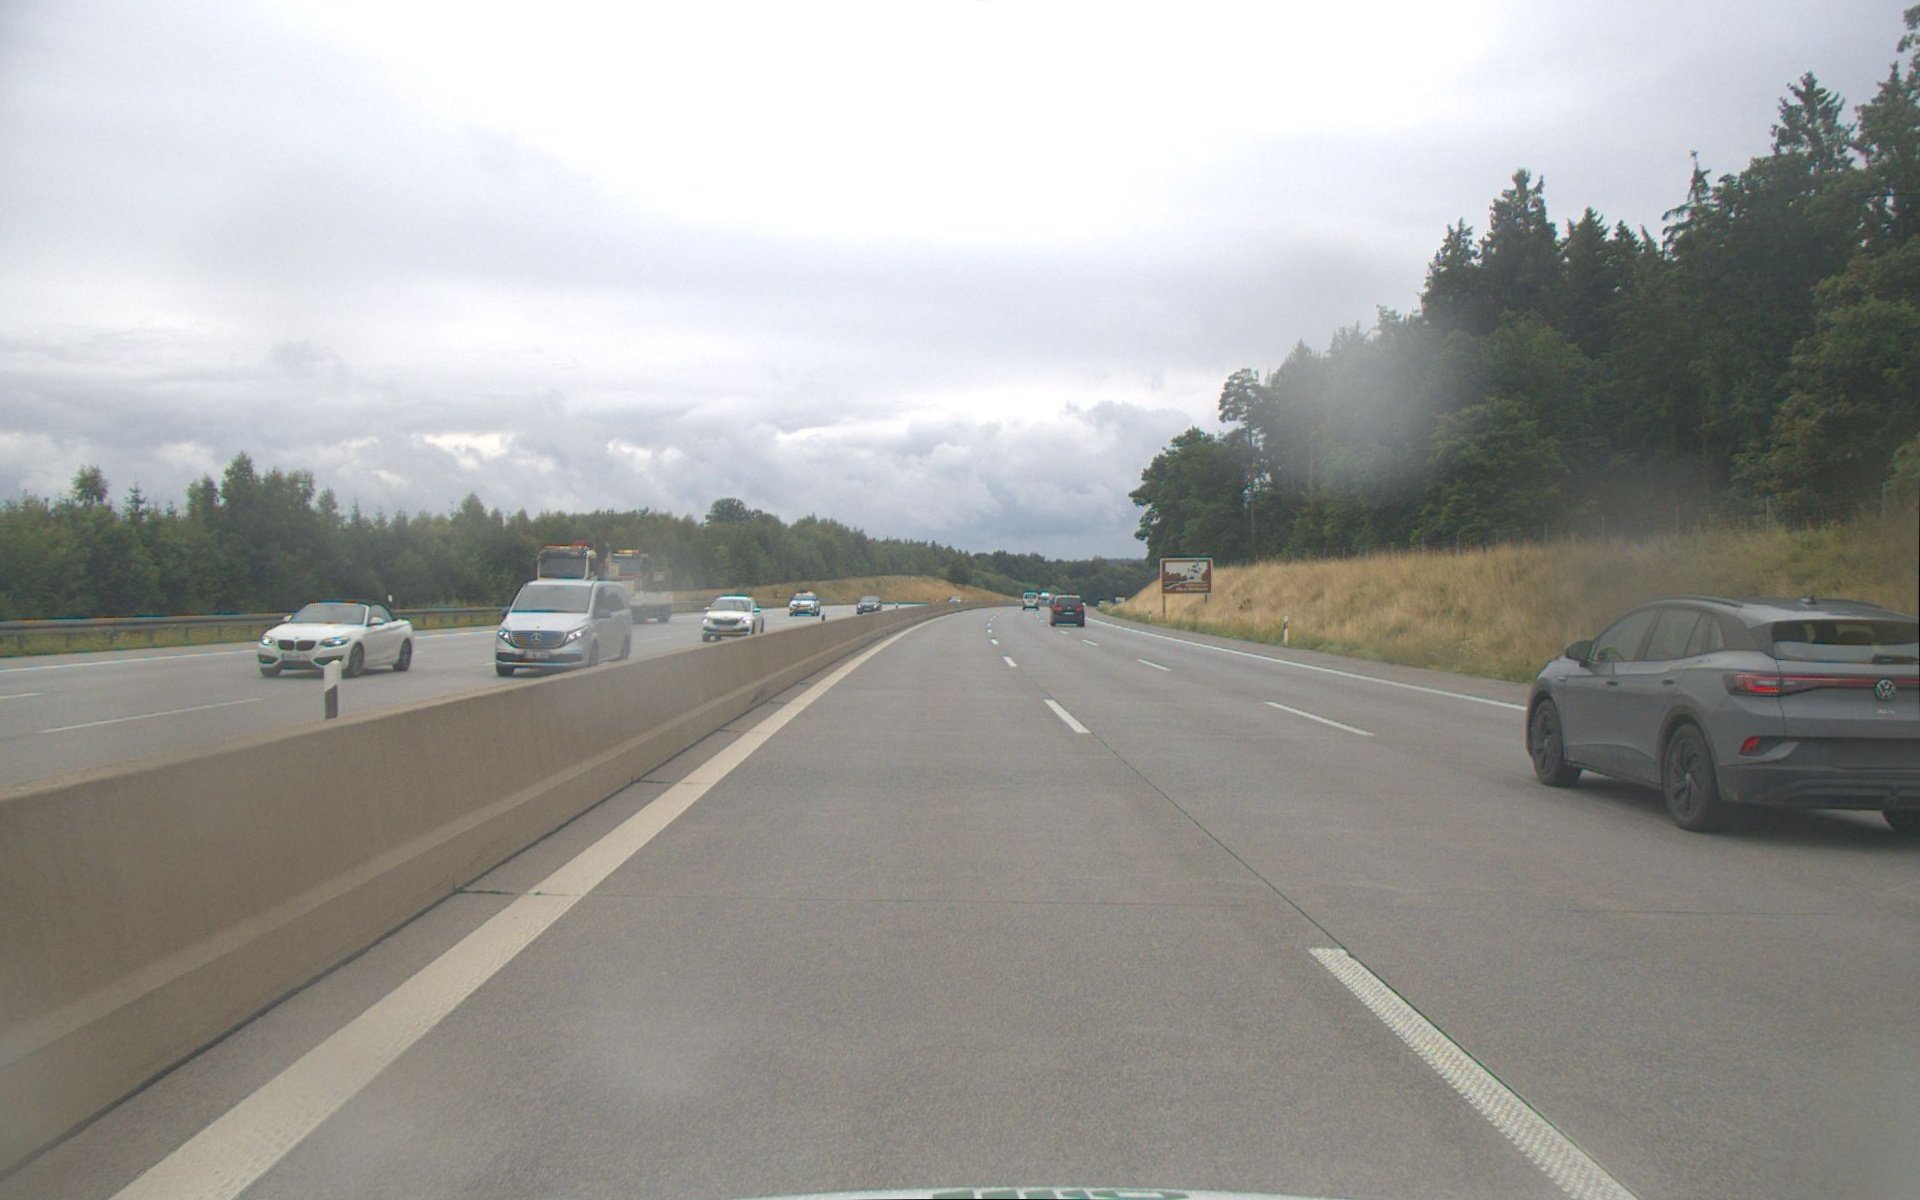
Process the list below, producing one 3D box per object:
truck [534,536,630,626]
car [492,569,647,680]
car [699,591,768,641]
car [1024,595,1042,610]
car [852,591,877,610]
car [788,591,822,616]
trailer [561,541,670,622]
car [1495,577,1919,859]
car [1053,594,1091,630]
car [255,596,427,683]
[{"bbox_3d":[-16.481,-0.813,72.631,2.533,3.716,7.660,0,0,-1],"label":"truck"},{"bbox_3d":[-7.985,0.426,34.394,1.953,2.048,5.524,2,1,-1],"label":"car"},{"bbox_3d":[-7.770,0.520,57.118,1.679,1.445,4.214,3,2,0],"label":"car"},{"bbox_3d":[8.336,0.228,189.888,1.804,1.526,4.000,-2,2,-1],"label":"car"},{"bbox_3d":[-7.478,0.018,129.891,1.727,1.289,4.492,-1,-2,-1],"label":"car"},{"bbox_3d":[-10.830,0.225,115.814,1.726,1.614,4.758,1,1,2],"label":"car"},{"bbox_3d":[-16.519,-0.815,80.467,2.534,3.605,13.721,0,0,0],"label":"trailer"},{"bbox_3d":[5.988,0.707,12.948,1.859,1.719,5.266,1,1,0],"label":"car"},{"bbox_3d":[6.196,0.643,91.990,1.749,1.777,3.915,-2,2,-1],"label":"car"},{"bbox_3d":[-11.887,0.712,32.053,1.701,1.391,4.098,3,2,0],"label":"car"}]
